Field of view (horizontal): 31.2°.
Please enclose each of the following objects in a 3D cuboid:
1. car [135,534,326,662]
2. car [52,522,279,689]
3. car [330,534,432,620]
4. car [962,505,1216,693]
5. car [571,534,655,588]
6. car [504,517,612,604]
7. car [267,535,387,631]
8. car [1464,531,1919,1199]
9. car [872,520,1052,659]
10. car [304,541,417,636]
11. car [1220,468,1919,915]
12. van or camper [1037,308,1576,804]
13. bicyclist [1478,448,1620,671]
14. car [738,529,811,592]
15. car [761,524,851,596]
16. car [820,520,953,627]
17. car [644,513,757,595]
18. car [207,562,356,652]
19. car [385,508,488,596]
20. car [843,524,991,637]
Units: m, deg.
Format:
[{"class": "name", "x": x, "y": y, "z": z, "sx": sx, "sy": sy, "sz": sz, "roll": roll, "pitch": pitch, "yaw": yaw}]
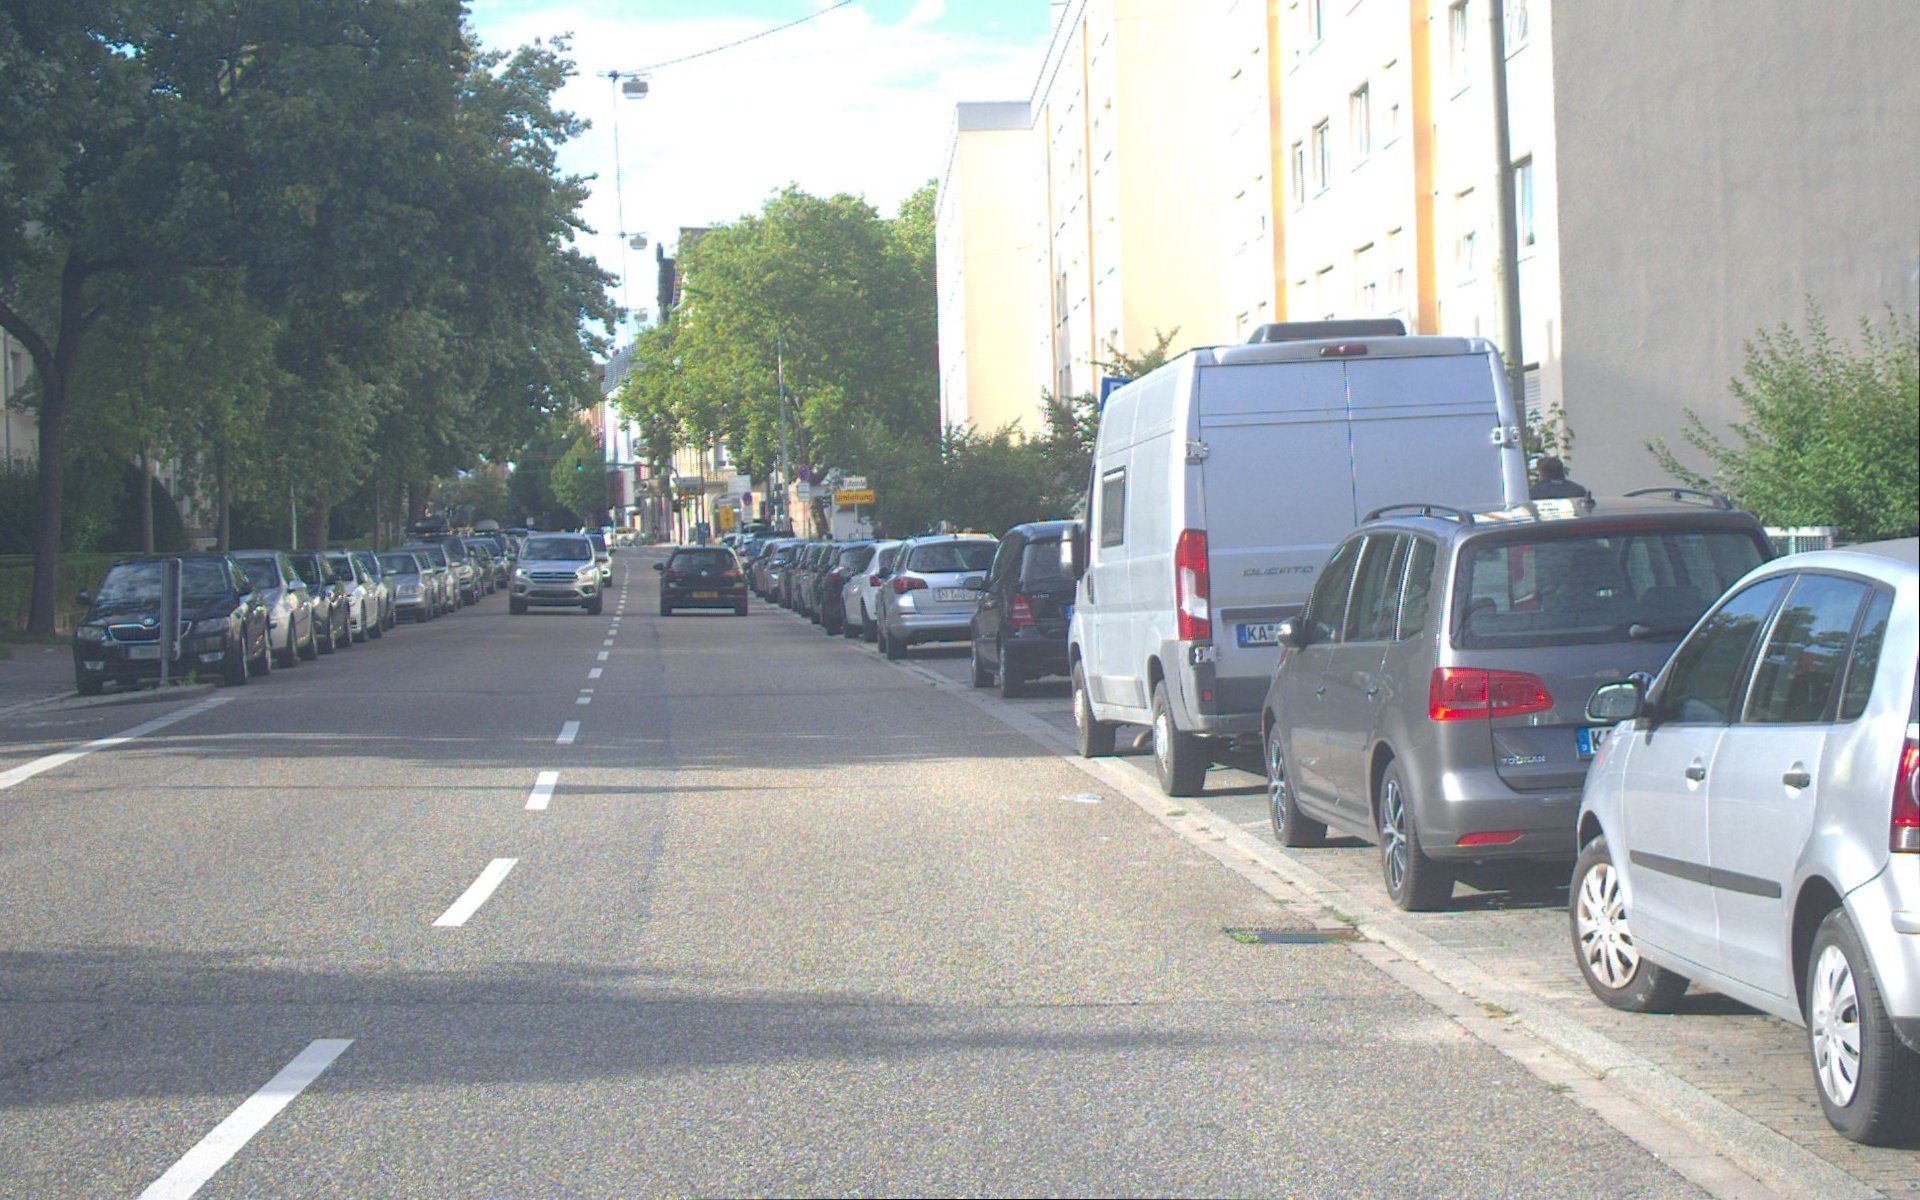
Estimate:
[{"class": "car", "x": -9.012, "y": -0.065, "z": 42.738, "sx": 1.993, "sy": 1.446, "sz": 3.905, "roll": -2, "pitch": 1, "yaw": -8}, {"class": "car", "x": -8.572, "y": 0.017, "z": 37.382, "sx": 1.993, "sy": 1.634, "sz": 4.001, "roll": -2, "pitch": 1, "yaw": -8}, {"class": "car", "x": -11.290, "y": -0.467, "z": 67.251, "sx": 1.806, "sy": 1.556, "sz": 3.435, "roll": -3, "pitch": 1, "yaw": -8}, {"class": "car", "x": 1.130, "y": -0.053, "z": 32.068, "sx": 1.993, "sy": 1.568, "sz": 4.001, "roll": -2, "pitch": 1, "yaw": -2}, {"class": "car", "x": -10.473, "y": -1.196, "z": 103.557, "sx": 1.993, "sy": 1.565, "sz": 4.001, "roll": -1, "pitch": 1, "yaw": -13}, {"class": "car", "x": -8.294, "y": -0.838, "z": 70.731, "sx": 2.055, "sy": 1.658, "sz": 3.927, "roll": -3, "pitch": 1, "yaw": -8}, {"class": "car", "x": -9.838, "y": -0.289, "z": 53.605, "sx": 1.637, "sy": 1.385, "sz": 3.435, "roll": -2, "pitch": 1, "yaw": -8}, {"class": "car", "x": 2.891, "y": 0.547, "z": 10.035, "sx": 2.015, "sy": 1.470, "sz": 4.802, "roll": -3, "pitch": 1, "yaw": -1}, {"class": "car", "x": -0.027, "y": -0.170, "z": 42.703, "sx": 1.993, "sy": 1.568, "sz": 4.001, "roll": -2, "pitch": 1, "yaw": -2}, {"class": "car", "x": -10.607, "y": -0.222, "z": 61.008, "sx": 1.806, "sy": 1.556, "sz": 3.435, "roll": -2, "pitch": 1, "yaw": -8}, {"class": "car", "x": 2.517, "y": 0.296, "z": 15.201, "sx": 1.993, "sy": 1.610, "sz": 4.409, "roll": -2, "pitch": 1, "yaw": -5}, {"class": "van or camper", "x": 1.943, "y": -0.300, "z": 21.248, "sx": 2.209, "sy": 2.598, "sz": 5.373, "roll": -2, "pitch": 1, "yaw": -6}, {"class": "bicyclist", "x": 4.169, "y": -0.288, "z": 24.397, "sx": 0.737, "sy": 1.508, "sz": 0.875, "roll": -4, "pitch": 1, "yaw": -2}, {"class": "car", "x": -5.304, "y": -1.158, "z": 98.498, "sx": 1.993, "sy": 1.678, "sz": 4.001, "roll": -2, "pitch": 1, "yaw": -2}, {"class": "car", "x": -3.583, "y": -0.949, "z": 80.196, "sx": 1.993, "sy": 1.568, "sz": 4.001, "roll": -2, "pitch": 1, "yaw": -2}, {"class": "car", "x": -1.223, "y": -0.457, "z": 55.267, "sx": 1.993, "sy": 1.568, "sz": 4.001, "roll": -2, "pitch": 1, "yaw": -2}, {"class": "car", "x": -5.268, "y": -0.942, "z": 69.401, "sx": 1.993, "sy": 1.565, "sz": 4.001, "roll": -1, "pitch": 1, "yaw": -8}, {"class": "car", "x": -9.468, "y": 0.070, "z": 48.201, "sx": 1.806, "sy": 1.112, "sz": 3.592, "roll": -2, "pitch": 1, "yaw": -8}, {"class": "car", "x": -12.734, "y": -1.193, "z": 83.886, "sx": 1.993, "sy": 2.007, "sz": 4.001, "roll": -2, "pitch": 1, "yaw": -2}, {"class": "car", "x": -0.679, "y": -0.319, "z": 50.594, "sx": 1.993, "sy": 1.524, "sz": 4.001, "roll": -2, "pitch": 1, "yaw": -2}]
